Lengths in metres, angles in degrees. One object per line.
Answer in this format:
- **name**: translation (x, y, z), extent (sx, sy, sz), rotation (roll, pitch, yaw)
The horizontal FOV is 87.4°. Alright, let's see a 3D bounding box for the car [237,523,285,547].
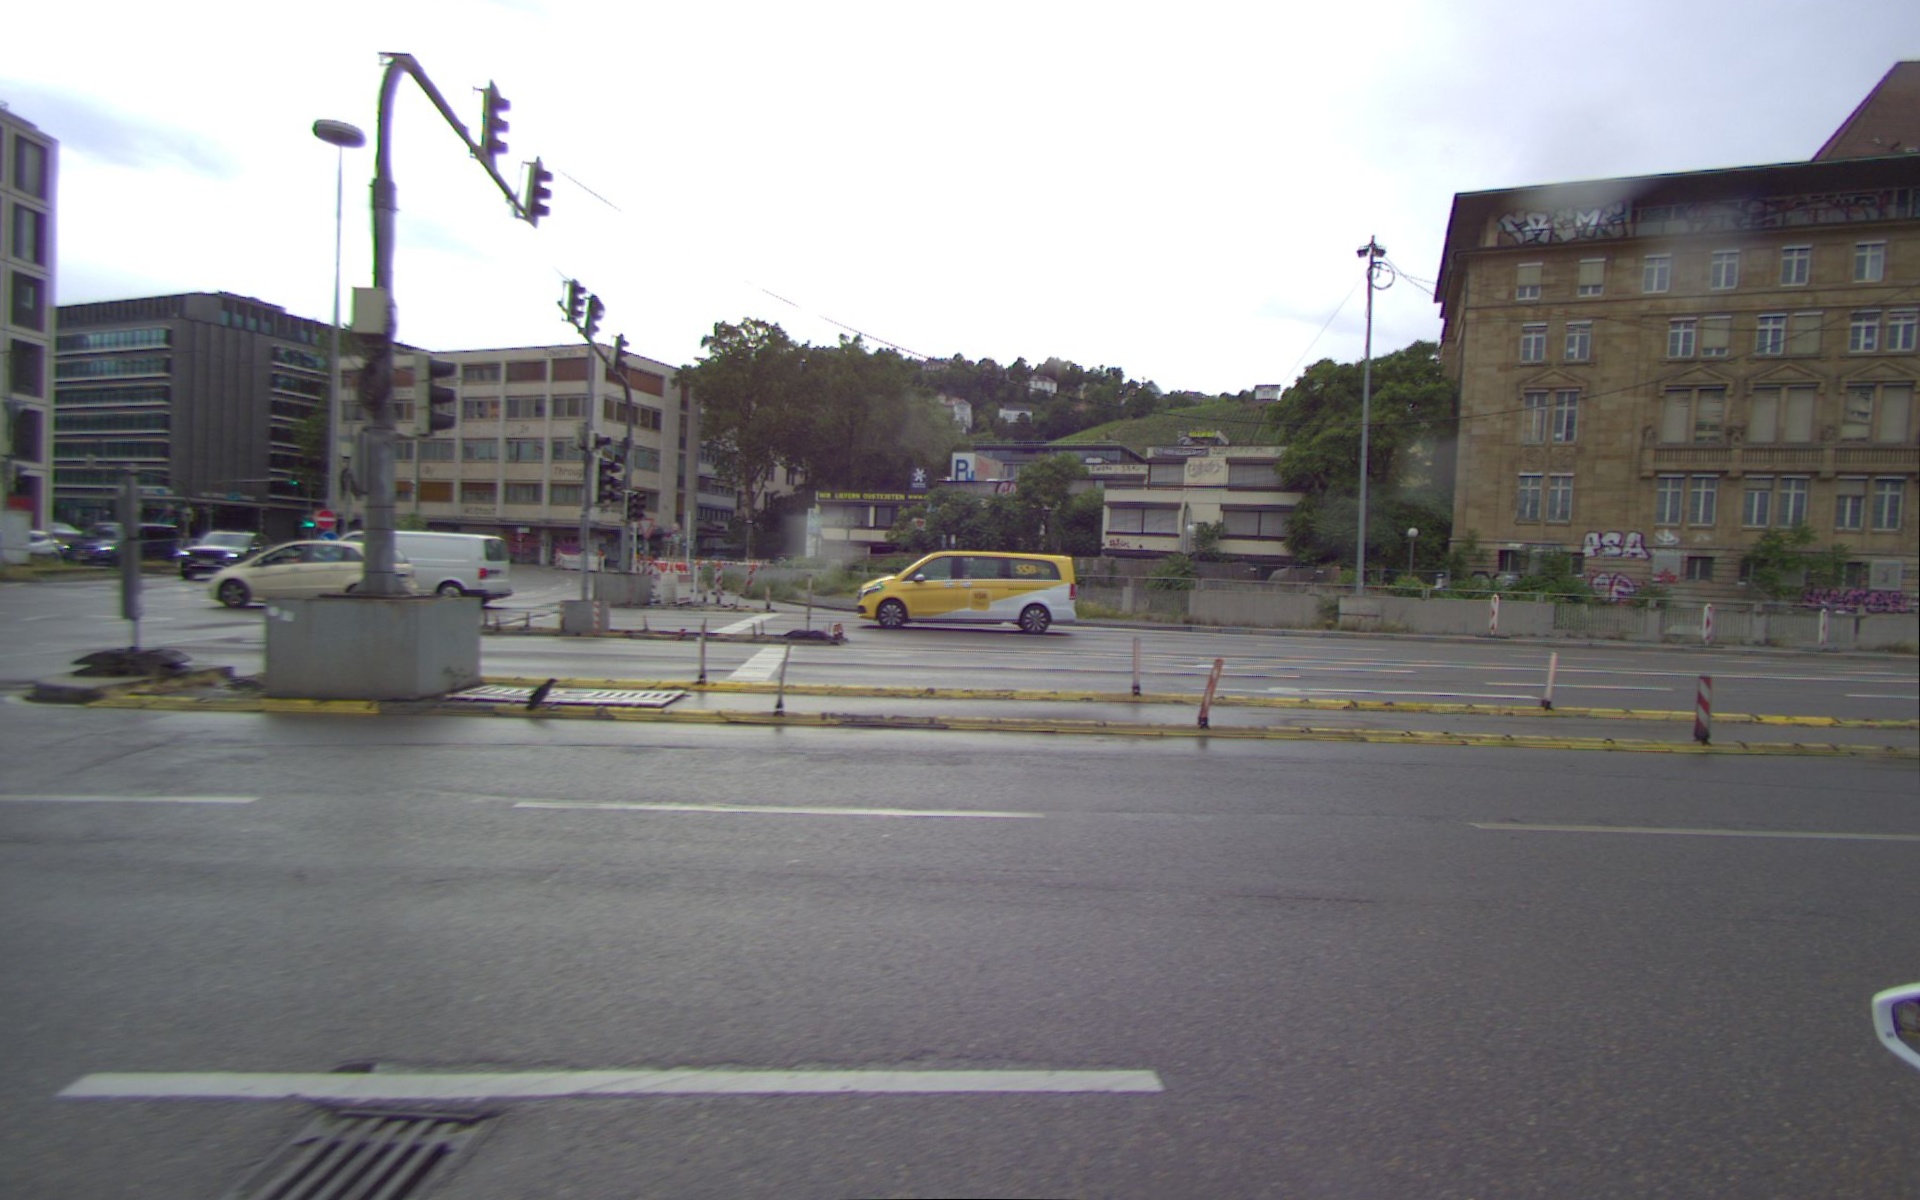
- **car**: translation (-61.931, -5.770, 89.006), extent (3.929, 2.041, 1.996), rotation (3, 2, 31)

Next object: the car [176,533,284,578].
- **car**: translation (-27.171, -1.670, 37.552), extent (1.805, 1.506, 3.989), rotation (2, 2, -13)

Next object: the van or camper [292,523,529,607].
- **van or camper**: translation (-14.429, -0.919, 26.624), extent (5.115, 1.919, 1.885), rotation (2, 2, -6)

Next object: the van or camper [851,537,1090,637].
- **van or camper**: translation (0.221, -0.340, 24.527), extent (5.499, 2.082, 2.245), rotation (2, 2, -2)

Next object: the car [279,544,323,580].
- **car**: translation (-30.919, -1.808, 47.159), extent (1.678, 1.578, 3.963), rotation (1, 2, -33)

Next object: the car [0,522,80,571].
- **car**: translation (-37.371, -2.136, 39.627), extent (1.770, 1.840, 3.999), rotation (3, 2, 1)

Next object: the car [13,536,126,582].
- **car**: translation (-33.451, -1.527, 37.885), extent (1.862, 1.578, 3.980), rotation (1, 2, -21)

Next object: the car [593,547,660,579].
- **car**: translation (-20.170, -2.217, 60.931), extent (1.704, 1.751, 3.999), rotation (3, 2, 21)

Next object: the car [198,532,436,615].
- **car**: translation (-14.975, -0.622, 23.590), extent (4.298, 1.696, 1.846), rotation (2, 2, -6)
